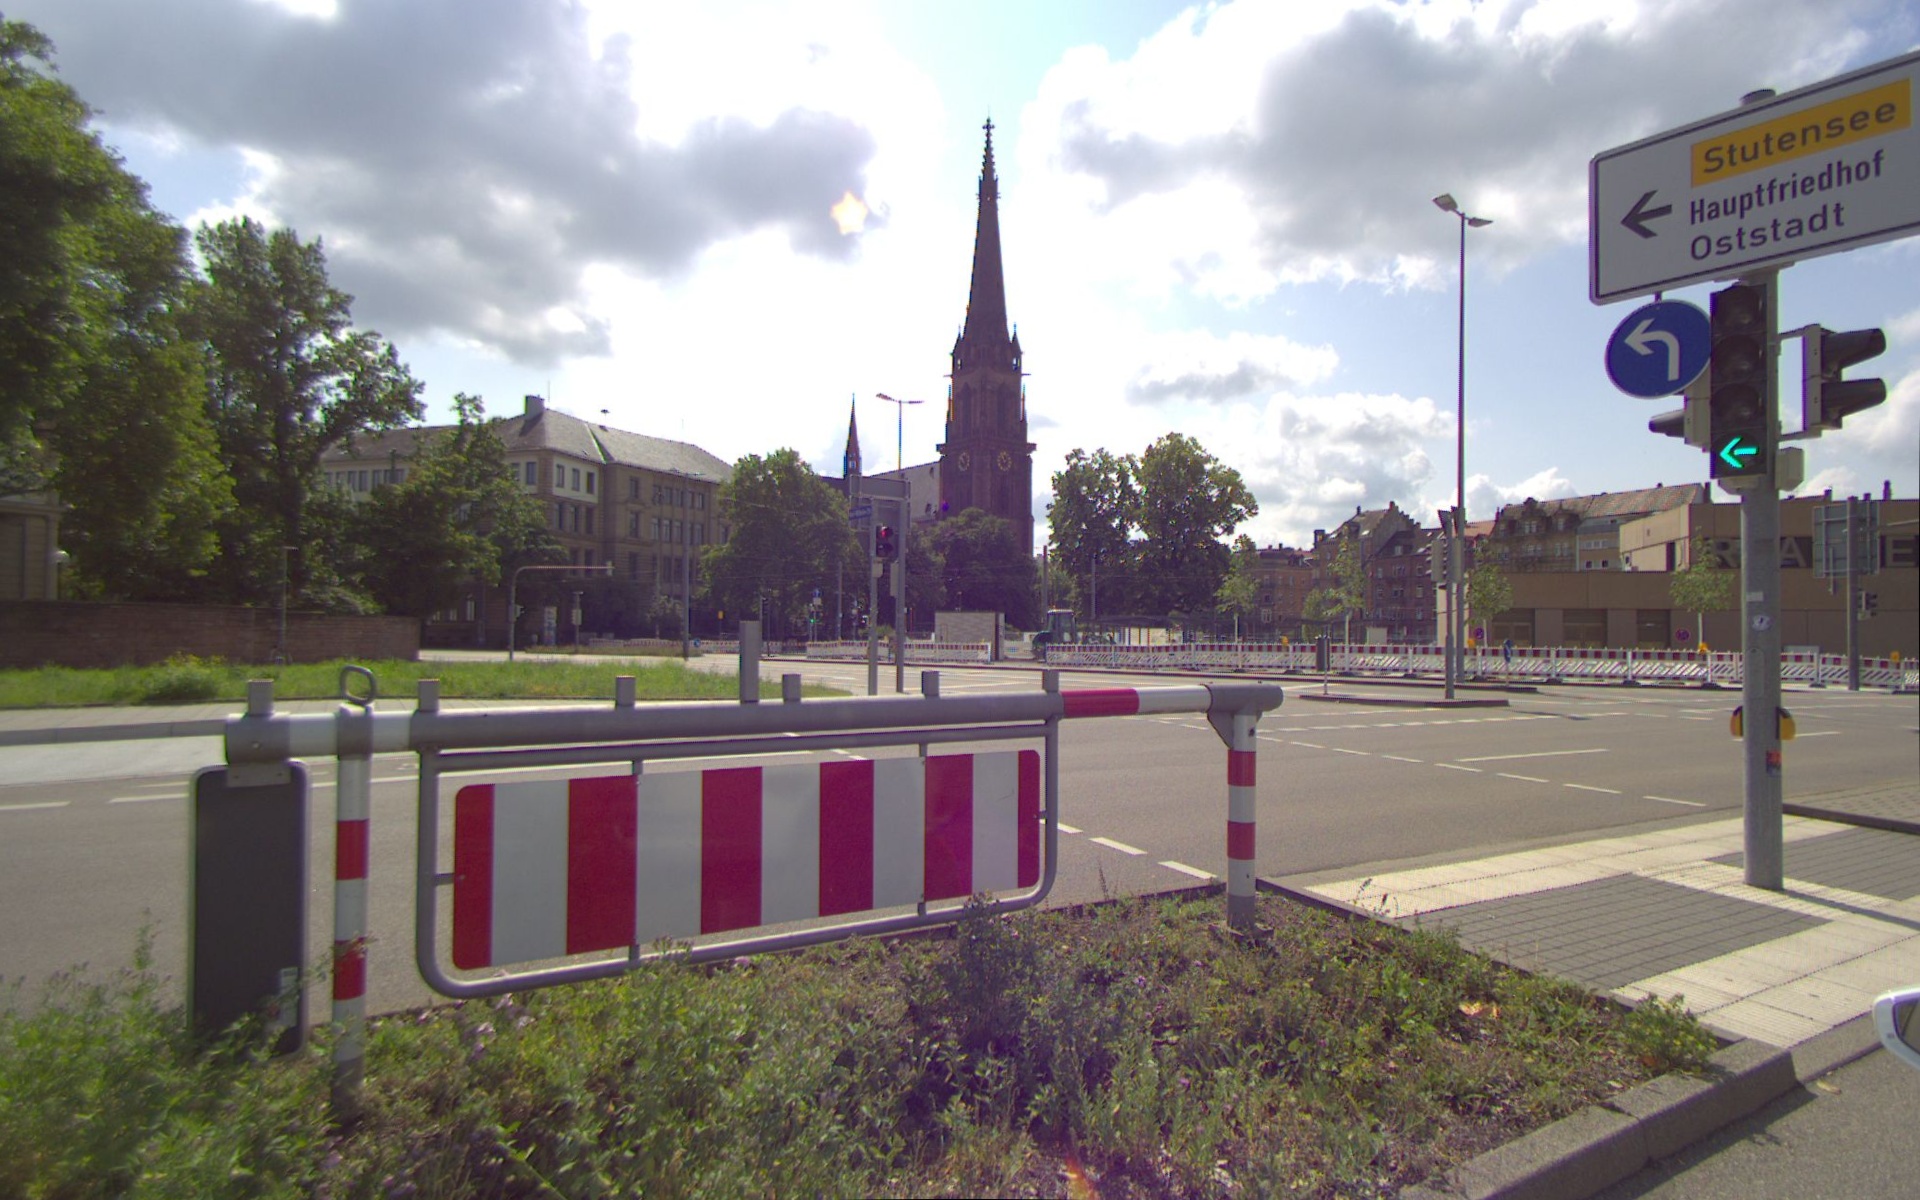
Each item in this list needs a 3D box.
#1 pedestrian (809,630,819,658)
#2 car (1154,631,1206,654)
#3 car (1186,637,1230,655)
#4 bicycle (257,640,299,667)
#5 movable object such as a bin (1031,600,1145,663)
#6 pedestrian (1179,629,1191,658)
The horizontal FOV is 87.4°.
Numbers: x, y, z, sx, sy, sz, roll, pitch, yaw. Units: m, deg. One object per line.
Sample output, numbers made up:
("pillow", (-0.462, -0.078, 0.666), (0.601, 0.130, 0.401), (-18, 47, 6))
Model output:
("pedestrian", (-9.801, 2.976, 67.389), (0.493, 1.874, 0.525), (2, -2, -27))
("car", (18.458, 3.560, 84.321), (4.096, 1.906, 1.804), (0, -2, 17))
("car", (26.425, 4.879, 106.993), (4.290, 1.817, 1.782), (0, -2, 26))
("bicycle", (-26.313, 2.061, 38.791), (0.386, 1.005, 1.524), (1, -2, 7))
("movable object such as a bin", (6.301, 1.555, 49.360), (5.430, 2.922, 2.290), (0, -2, 9))
("pedestrian", (16.326, 3.153, 72.917), (0.748, 2.040, 0.751), (0, -2, 15))
